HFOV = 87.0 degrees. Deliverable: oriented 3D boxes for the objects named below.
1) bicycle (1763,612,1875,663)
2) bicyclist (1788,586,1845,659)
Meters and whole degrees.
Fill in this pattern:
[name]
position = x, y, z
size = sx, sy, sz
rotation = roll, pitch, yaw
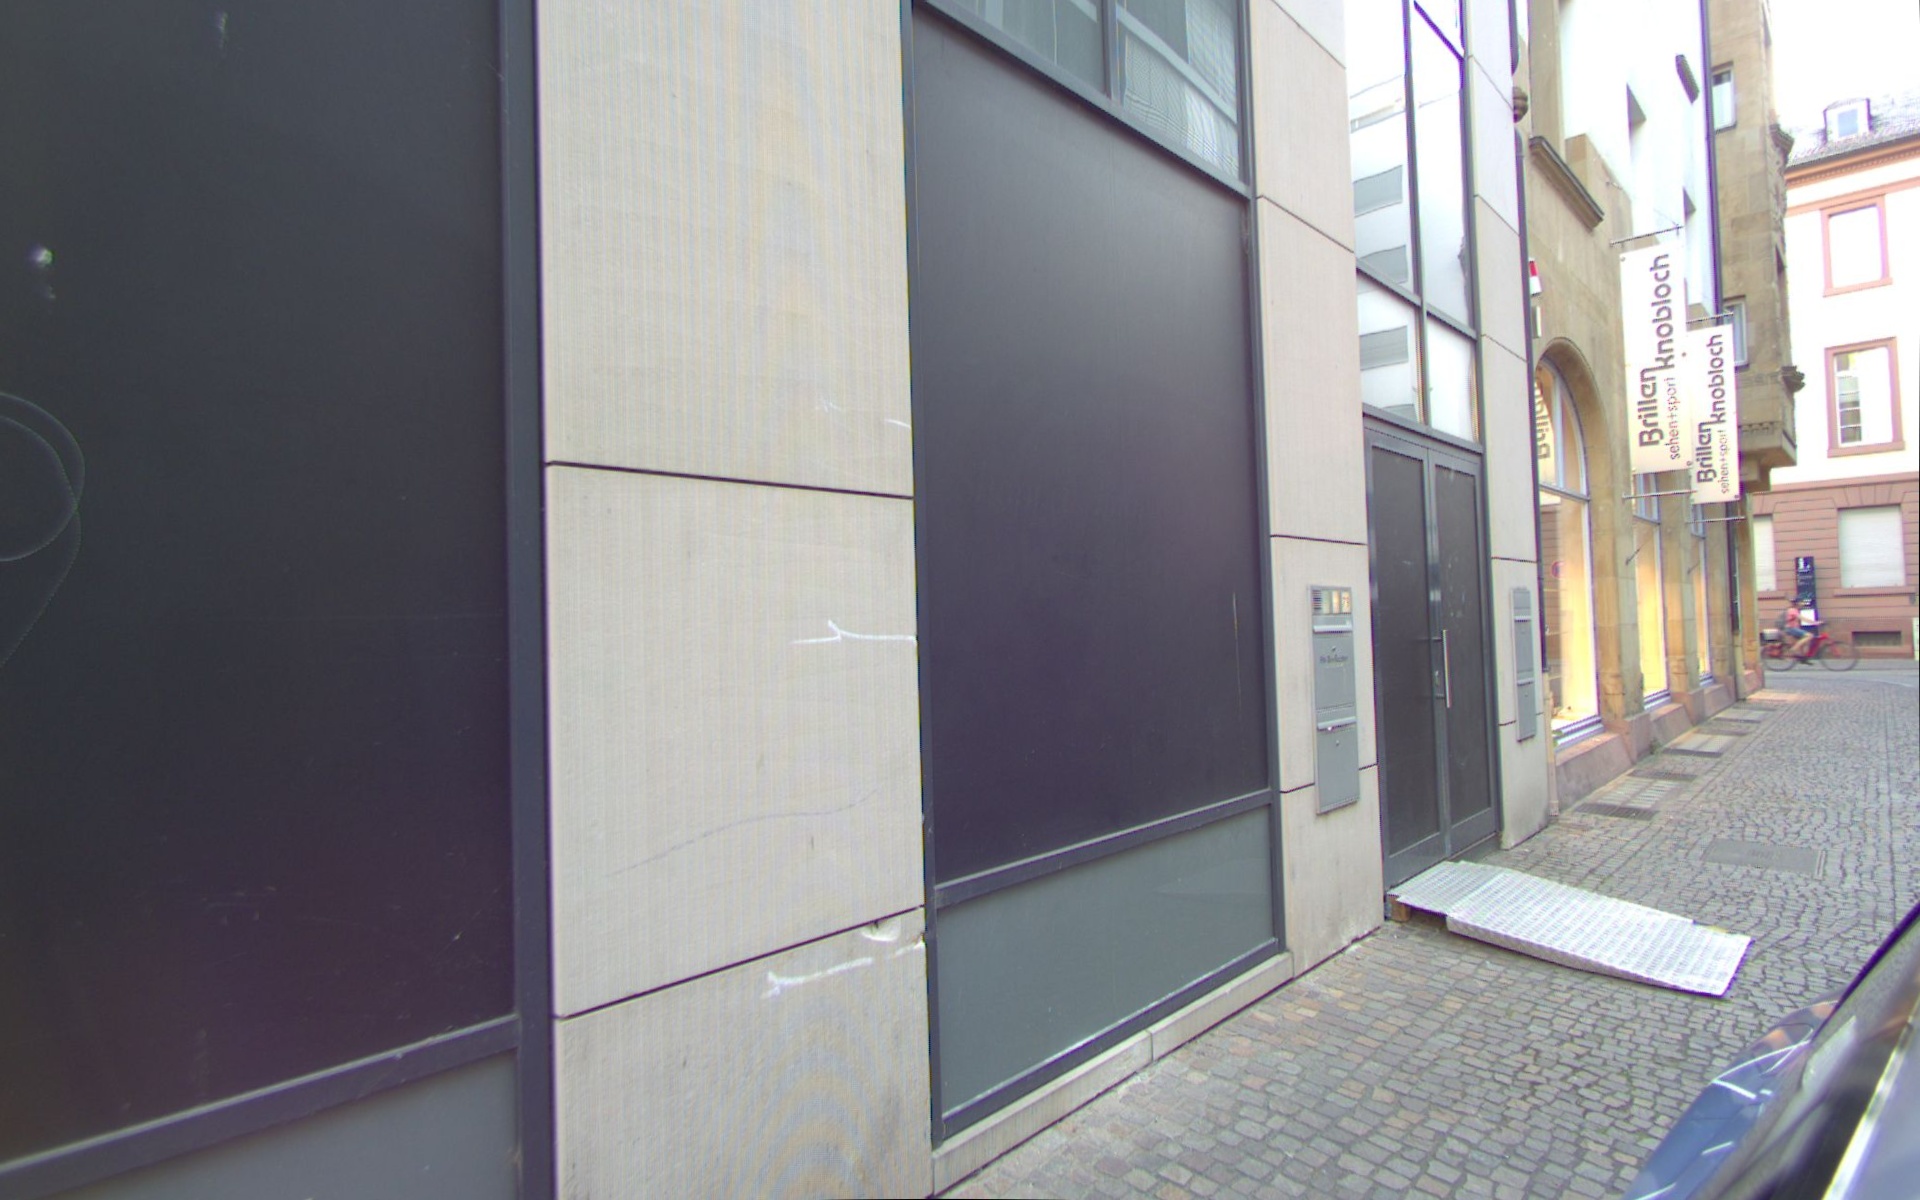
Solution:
[bicycle]
position = 20.773, 0.924, 24.510
size = 0.568, 1.164, 1.975
rotation = 0, -3, -45
[bicyclist]
position = 20.767, 0.552, 24.541
size = 0.620, 1.726, 0.898
rotation = 0, -3, -45
